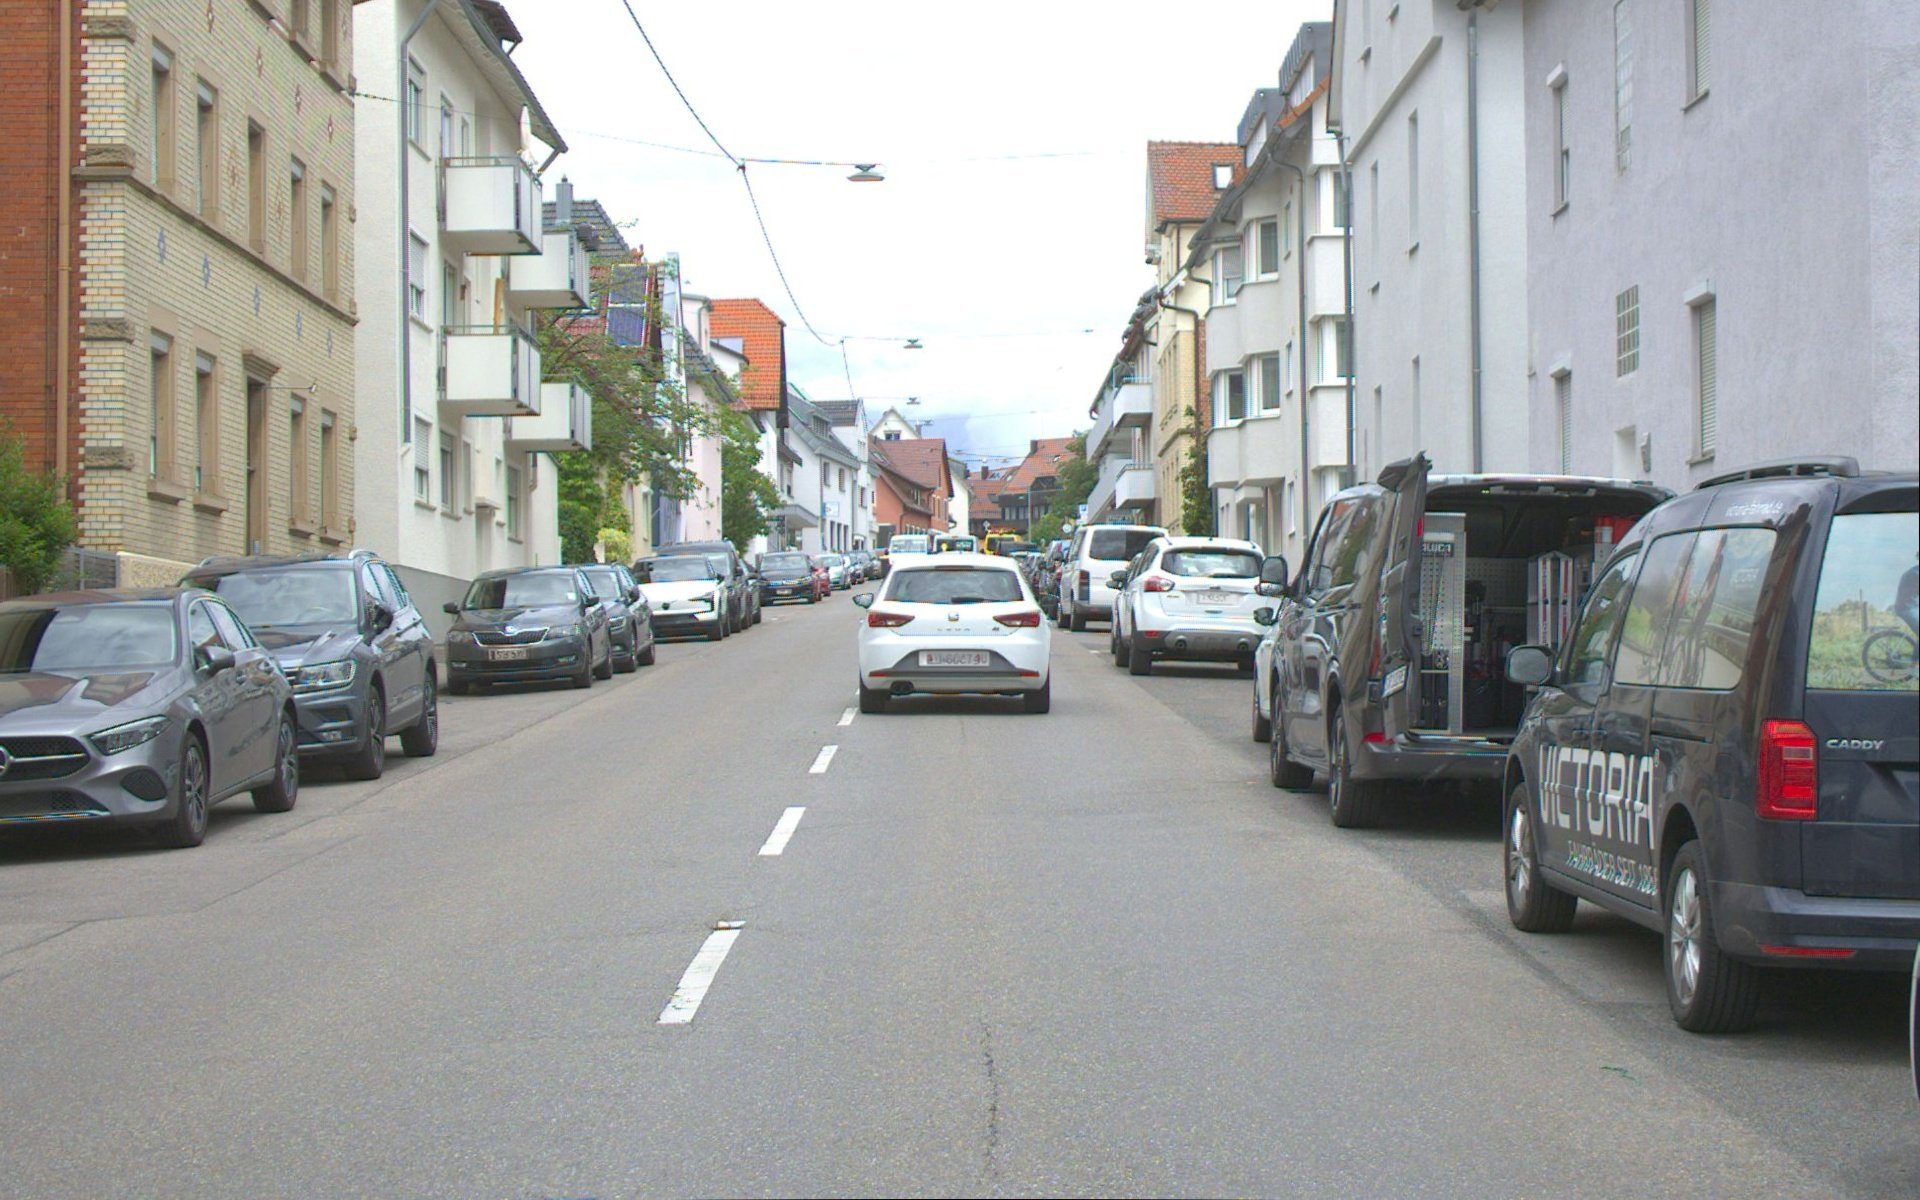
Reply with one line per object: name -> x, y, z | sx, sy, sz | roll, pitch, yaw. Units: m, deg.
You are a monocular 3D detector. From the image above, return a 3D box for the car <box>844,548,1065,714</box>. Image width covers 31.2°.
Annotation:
car -> -0.028, 0.241, 32.298 | 1.940, 1.434, 4.000 | 0, 1, 1

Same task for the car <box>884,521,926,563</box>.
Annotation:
car -> -2.759, -2.909, 172.260 | 1.993, 2.007, 4.000 | -1, 1, 0

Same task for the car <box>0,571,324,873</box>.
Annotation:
car -> -5.175, 0.654, 20.058 | 1.993, 1.467, 4.243 | -4, 1, 1

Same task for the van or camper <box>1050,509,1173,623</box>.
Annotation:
van or camper -> 2.810, -0.662, 64.607 | 1.940, 2.047, 4.563 | 0, 1, -2

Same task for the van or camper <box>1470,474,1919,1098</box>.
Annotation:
van or camper -> 3.183, 0.518, 12.447 | 1.871, 1.822, 4.680 | 1, 1, -1

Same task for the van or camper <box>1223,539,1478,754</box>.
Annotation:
van or camper -> 3.039, 0.308, 27.436 | 1.602, 1.538, 4.000 | 2, 1, 1

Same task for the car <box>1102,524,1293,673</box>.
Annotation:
car -> 2.875, -0.064, 42.430 | 1.940, 1.687, 4.000 | 2, 1, -1

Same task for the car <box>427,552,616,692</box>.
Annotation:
car -> -5.187, 0.224, 41.098 | 1.642, 1.468, 4.179 | -3, 1, 0

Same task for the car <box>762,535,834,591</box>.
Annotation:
car -> -4.962, -1.153, 105.464 | 1.993, 1.645, 4.179 | -1, 1, 0

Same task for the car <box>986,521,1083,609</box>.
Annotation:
car -> 1.739, -0.855, 81.602 | 1.993, 2.007, 4.001 | -1, 1, -3

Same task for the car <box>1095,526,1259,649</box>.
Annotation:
car -> 3.065, -0.212, 49.273 | 1.940, 1.687, 4.001 | 0, 1, -2

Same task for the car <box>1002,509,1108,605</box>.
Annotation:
car -> 2.049, -0.948, 75.188 | 1.993, 2.007, 4.001 | -1, 1, -3

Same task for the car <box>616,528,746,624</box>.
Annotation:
car -> -4.984, -0.459, 61.838 | 1.993, 1.645, 4.000 | -1, 1, 0

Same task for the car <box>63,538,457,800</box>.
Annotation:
car -> -5.103, 0.430, 25.701 | 1.993, 1.645, 4.554 | -4, 1, -1

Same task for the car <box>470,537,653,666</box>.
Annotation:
car -> -5.333, -0.019, 46.440 | 1.993, 1.645, 4.000 | -1, 1, 0

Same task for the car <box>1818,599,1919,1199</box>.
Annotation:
car -> 3.076, 0.771, 6.403 | 1.714, 1.431, 4.640 | 1, 1, -1

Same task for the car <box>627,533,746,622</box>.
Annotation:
car -> -5.286, -0.468, 66.925 | 1.993, 1.645, 4.000 | -1, 1, 0

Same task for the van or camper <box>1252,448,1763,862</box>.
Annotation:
van or camper -> 3.002, 0.221, 20.251 | 1.993, 2.058, 5.945 | 1, 1, 0
